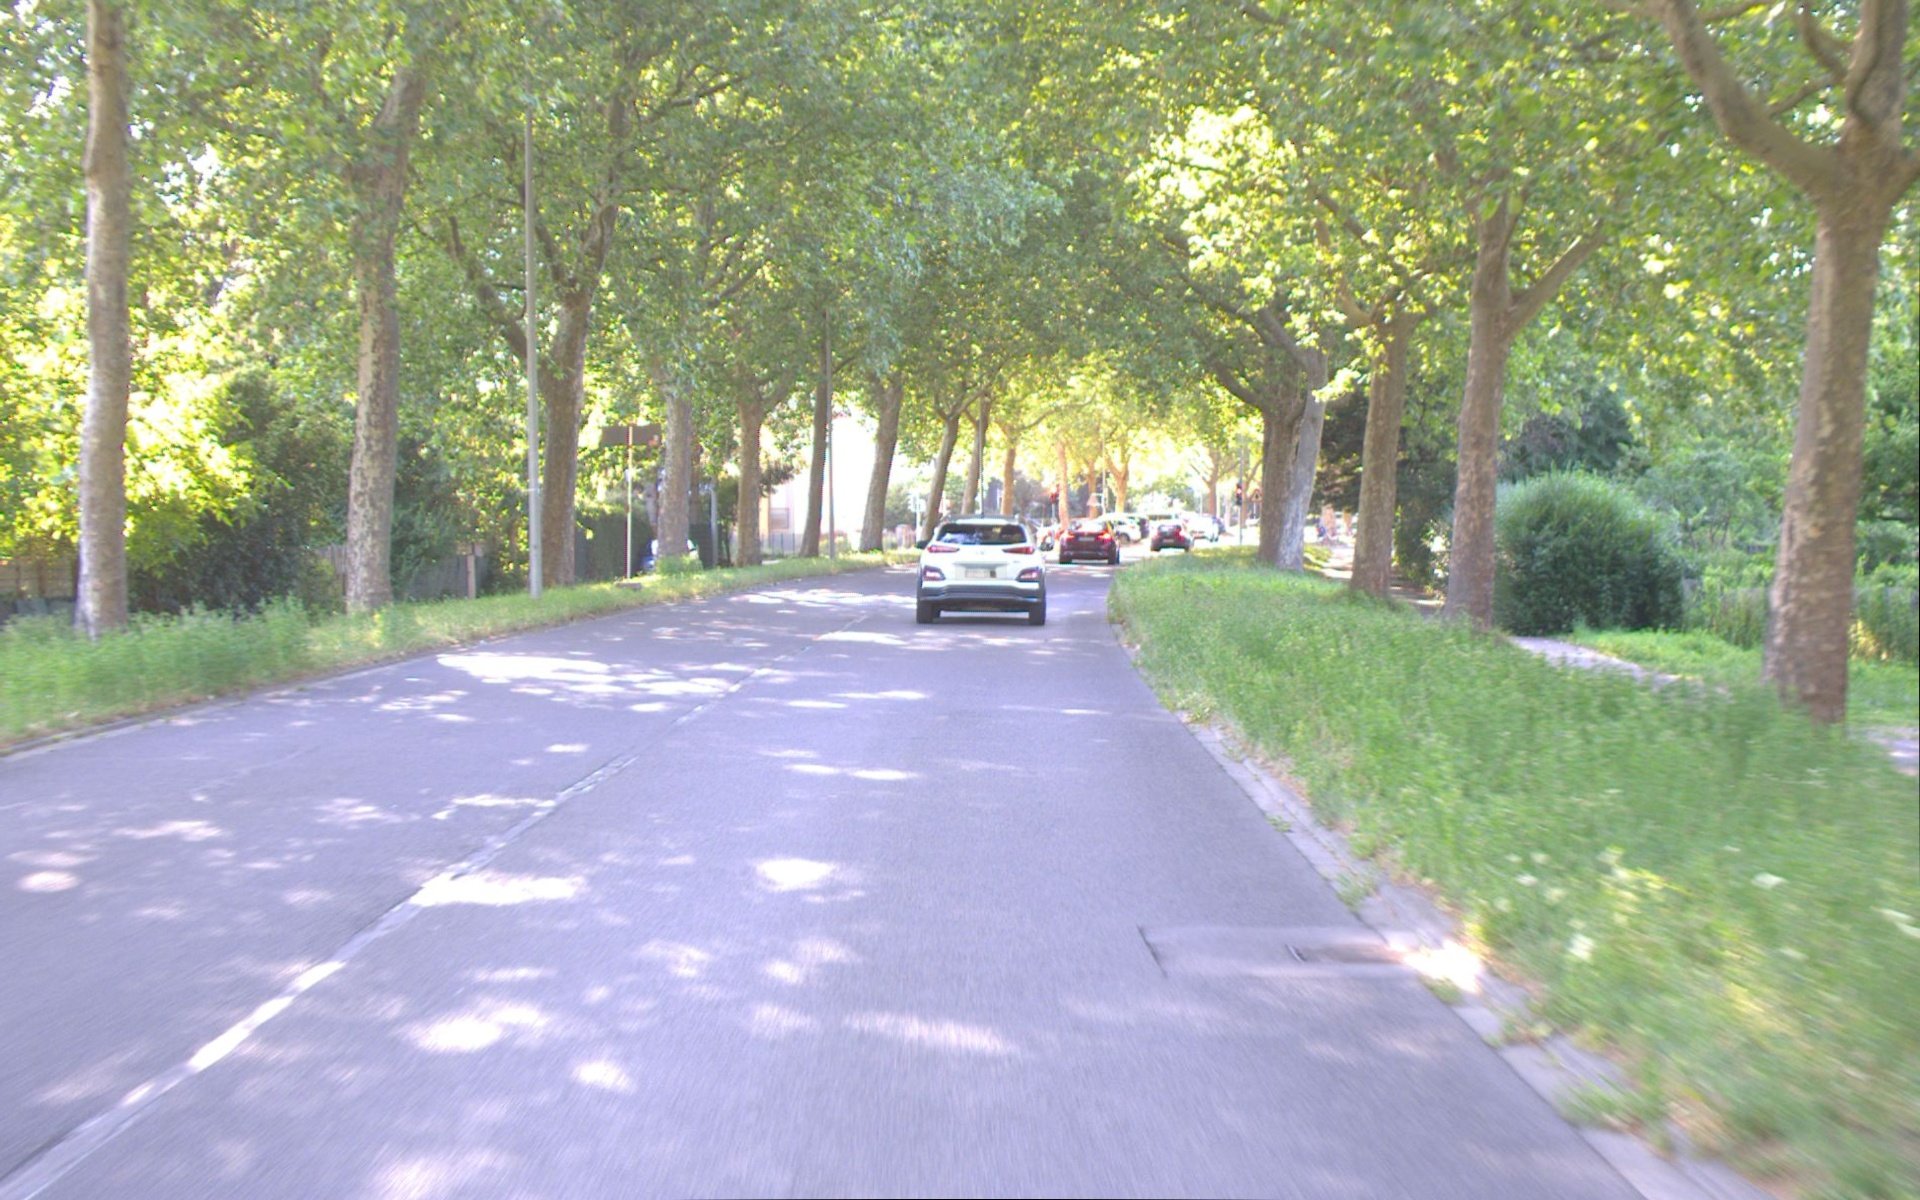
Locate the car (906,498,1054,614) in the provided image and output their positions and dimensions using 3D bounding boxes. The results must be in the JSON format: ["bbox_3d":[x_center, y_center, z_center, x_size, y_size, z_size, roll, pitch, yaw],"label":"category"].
[{"bbox_3d":[0.328,-0.652,49.472,1.993,1.569,4.000,1,1,2],"label":"car"}]

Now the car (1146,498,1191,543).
[{"bbox_3d":[9.571,-3.630,158.026,1.994,2.007,4.000,1,1,3],"label":"car"}]

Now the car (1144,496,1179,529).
[{"bbox_3d":[12.856,-5.561,219.052,1.994,2.007,3.999,1,1,6],"label":"car"}]

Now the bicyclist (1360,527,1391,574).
[{"bbox_3d":[12.316,-1.473,101.946,0.734,1.361,0.771,1,1,-7],"label":"bicyclist"}]

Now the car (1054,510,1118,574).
[{"bbox_3d":[4.098,-1.879,111.571,1.994,2.007,4.000,1,1,2],"label":"car"}]

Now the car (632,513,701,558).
[{"bbox_3d":[-9.319,-2.054,109.382,1.752,1.300,4.000,-1,2,1],"label":"car"}]
